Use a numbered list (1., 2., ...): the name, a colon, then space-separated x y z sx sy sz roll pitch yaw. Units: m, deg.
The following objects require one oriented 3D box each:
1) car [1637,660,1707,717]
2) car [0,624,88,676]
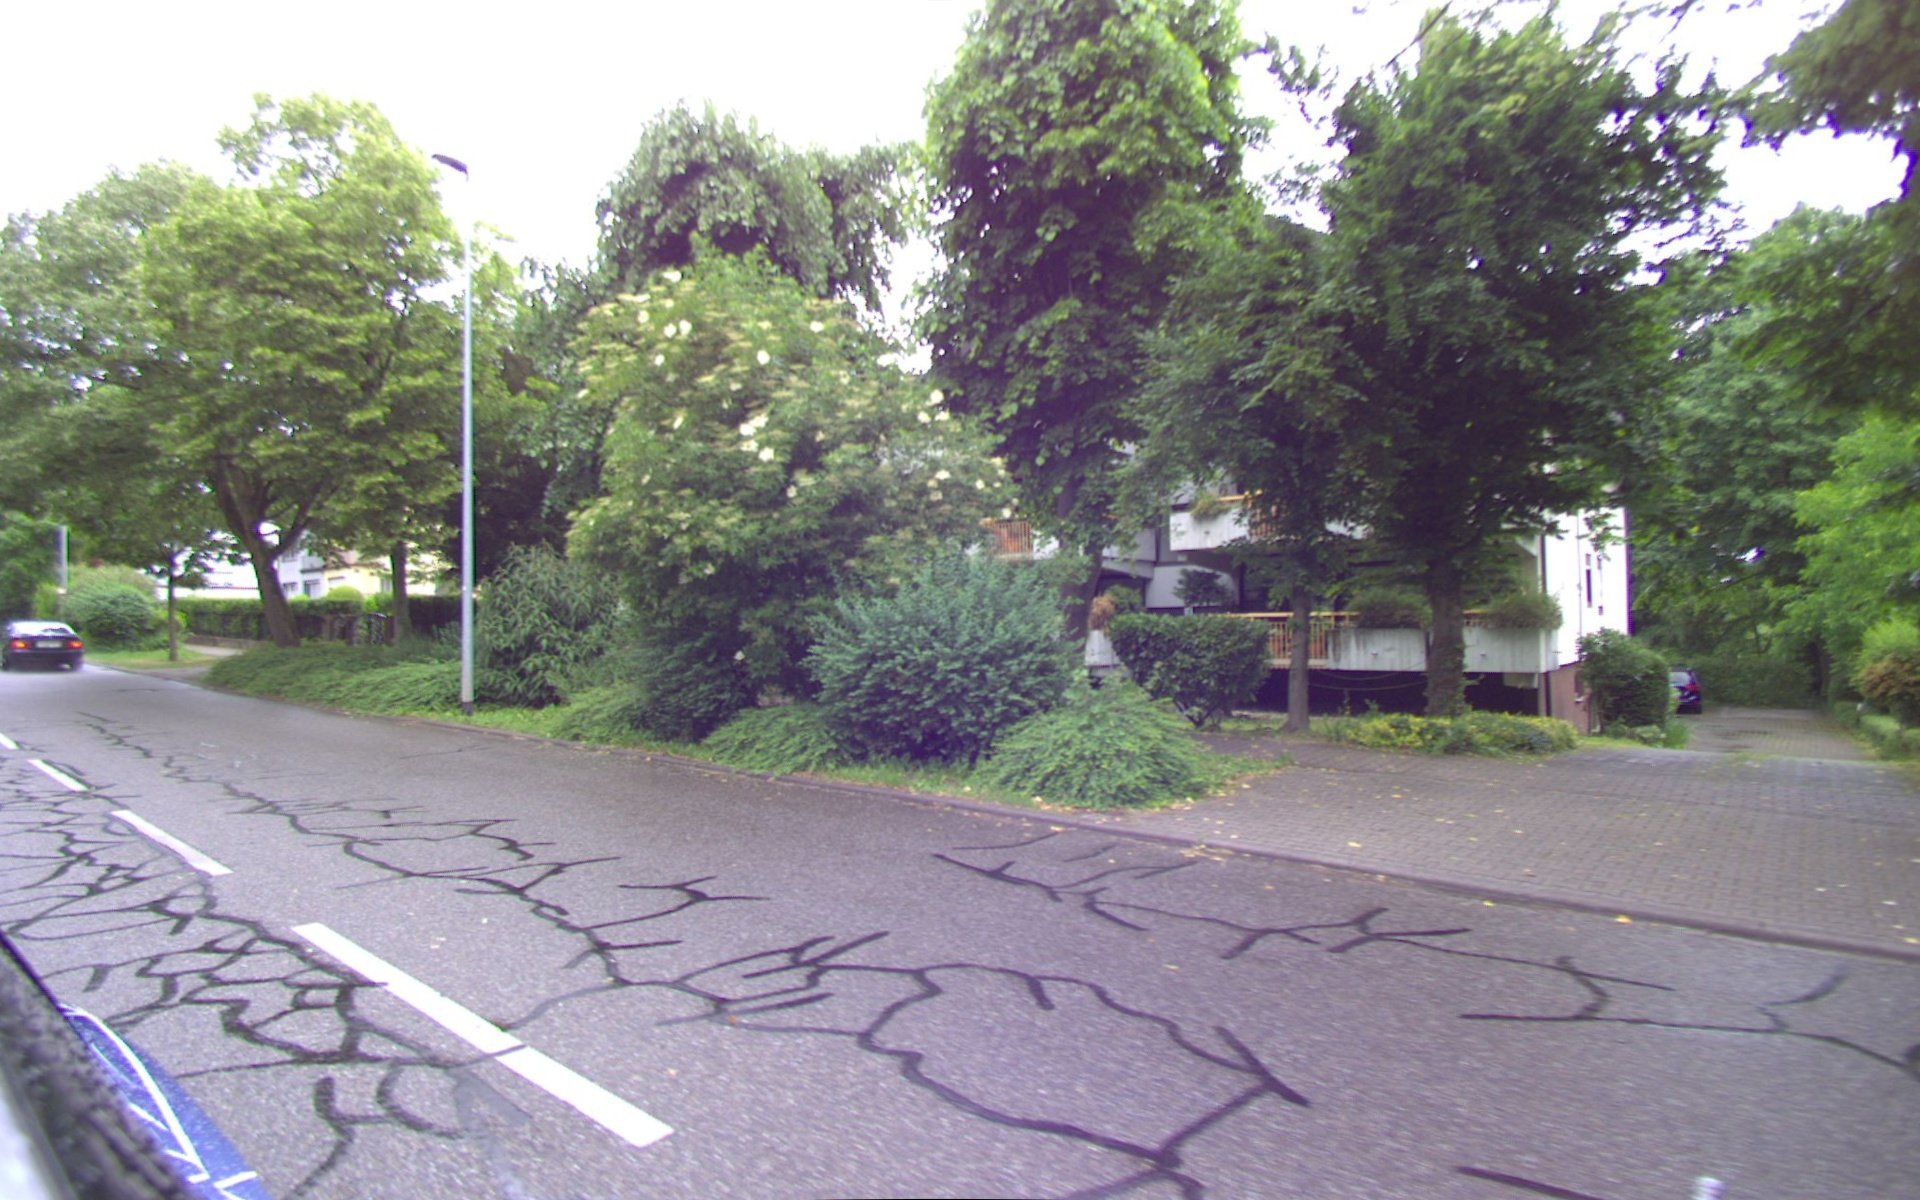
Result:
1. car: 26.598 3.258 37.916 1.819 1.730 3.958 -1 0 31
2. car: -26.432 1.370 28.785 4.374 1.359 1.747 -1 -3 40
